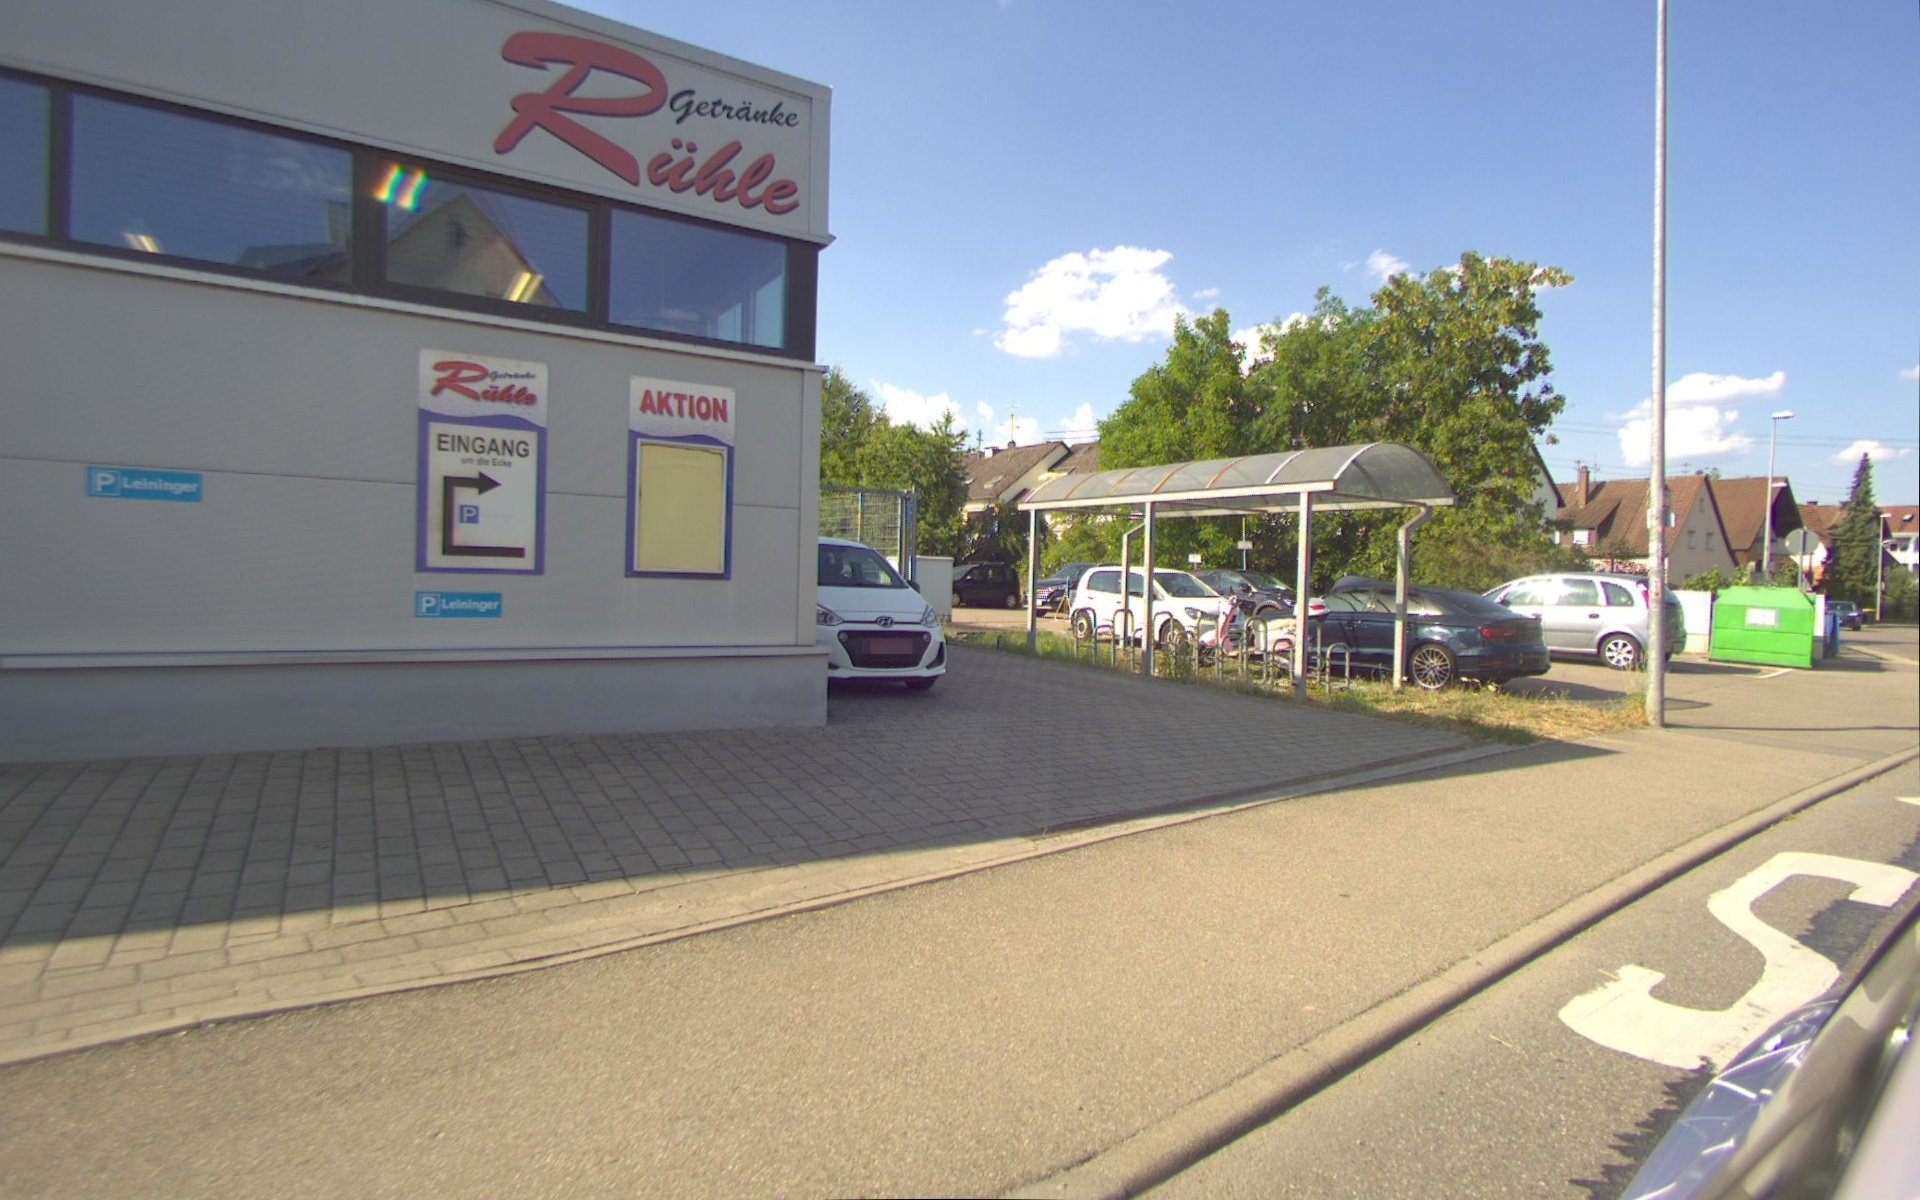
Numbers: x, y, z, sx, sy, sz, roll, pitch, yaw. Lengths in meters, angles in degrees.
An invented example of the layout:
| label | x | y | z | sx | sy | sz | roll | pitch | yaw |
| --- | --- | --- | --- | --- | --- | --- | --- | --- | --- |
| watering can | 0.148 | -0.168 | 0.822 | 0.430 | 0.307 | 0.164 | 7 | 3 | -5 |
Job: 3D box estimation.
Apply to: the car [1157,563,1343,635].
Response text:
| label | x | y | z | sx | sy | sz | roll | pitch | yaw |
| --- | --- | --- | --- | --- | --- | --- | --- | --- | --- |
| car | 6.683 | -0.085 | 23.686 | 1.652 | 1.466 | 3.950 | -1 | 3 | -38 |

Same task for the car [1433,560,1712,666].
| label | x | y | z | sx | sy | sz | roll | pitch | yaw |
| --- | --- | --- | --- | --- | --- | --- | --- | --- | --- |
| car | 10.891 | 0.134 | 18.238 | 1.652 | 1.622 | 3.950 | -1 | 3 | -38 |

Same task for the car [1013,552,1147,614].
| label | x | y | z | sx | sy | sz | roll | pitch | yaw |
| --- | --- | --- | --- | --- | --- | --- | --- | --- | --- |
| car | 3.527 | -0.502 | 29.396 | 3.883 | 1.673 | 1.680 | 0 | 2 | -41 |

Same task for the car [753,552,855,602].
| label | x | y | z | sx | sy | sz | roll | pitch | yaw |
| --- | --- | --- | --- | --- | --- | --- | --- | --- | --- |
| car | -5.200 | -0.793 | 33.354 | 1.702 | 1.530 | 4.191 | 0 | 2 | -34 |

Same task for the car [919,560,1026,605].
| label | x | y | z | sx | sy | sz | roll | pitch | yaw |
| --- | --- | --- | --- | --- | --- | --- | --- | --- | --- |
| car | 0.455 | -0.633 | 36.330 | 3.508 | 1.518 | 1.683 | 0 | 2 | -35 |

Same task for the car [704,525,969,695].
| label | x | y | z | sx | sy | sz | roll | pitch | yaw |
| --- | --- | --- | --- | --- | --- | --- | --- | --- | --- |
| car | -1.469 | -0.008 | 10.716 | 1.468 | 1.475 | 3.573 | 2 | 3 | -30 |

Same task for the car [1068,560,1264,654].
| label | x | y | z | sx | sy | sz | roll | pitch | yaw |
| --- | --- | --- | --- | --- | --- | --- | --- | --- | --- |
| car | 3.692 | 0.058 | 18.600 | 1.469 | 1.433 | 3.451 | 0 | 4 | -34 |

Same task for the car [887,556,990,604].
| label | x | y | z | sx | sy | sz | roll | pitch | yaw |
| --- | --- | --- | --- | --- | --- | --- | --- | --- | --- |
| car | -0.778 | -0.742 | 38.086 | 3.519 | 1.673 | 1.683 | 0 | 2 | -35 |

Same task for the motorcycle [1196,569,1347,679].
| label | x | y | z | sx | sy | sz | roll | pitch | yaw |
| --- | --- | --- | --- | --- | --- | --- | --- | --- | --- |
| motorcycle | 4.251 | 0.290 | 13.887 | 1.819 | 1.340 | 0.633 | 5 | 3 | 34 |

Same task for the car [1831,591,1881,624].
| label | x | y | z | sx | sy | sz | roll | pitch | yaw |
| --- | --- | --- | --- | --- | --- | --- | --- | --- | --- |
| car | 50.472 | 0.387 | 57.042 | 1.967 | 1.676 | 3.940 | 5 | 4 | 41 |

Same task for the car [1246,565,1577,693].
| label | x | y | z | sx | sy | sz | roll | pitch | yaw |
| --- | --- | --- | --- | --- | --- | --- | --- | --- | --- |
| car | 6.329 | 0.304 | 14.634 | 1.595 | 1.433 | 4.079 | 0 | 4 | -36 |
